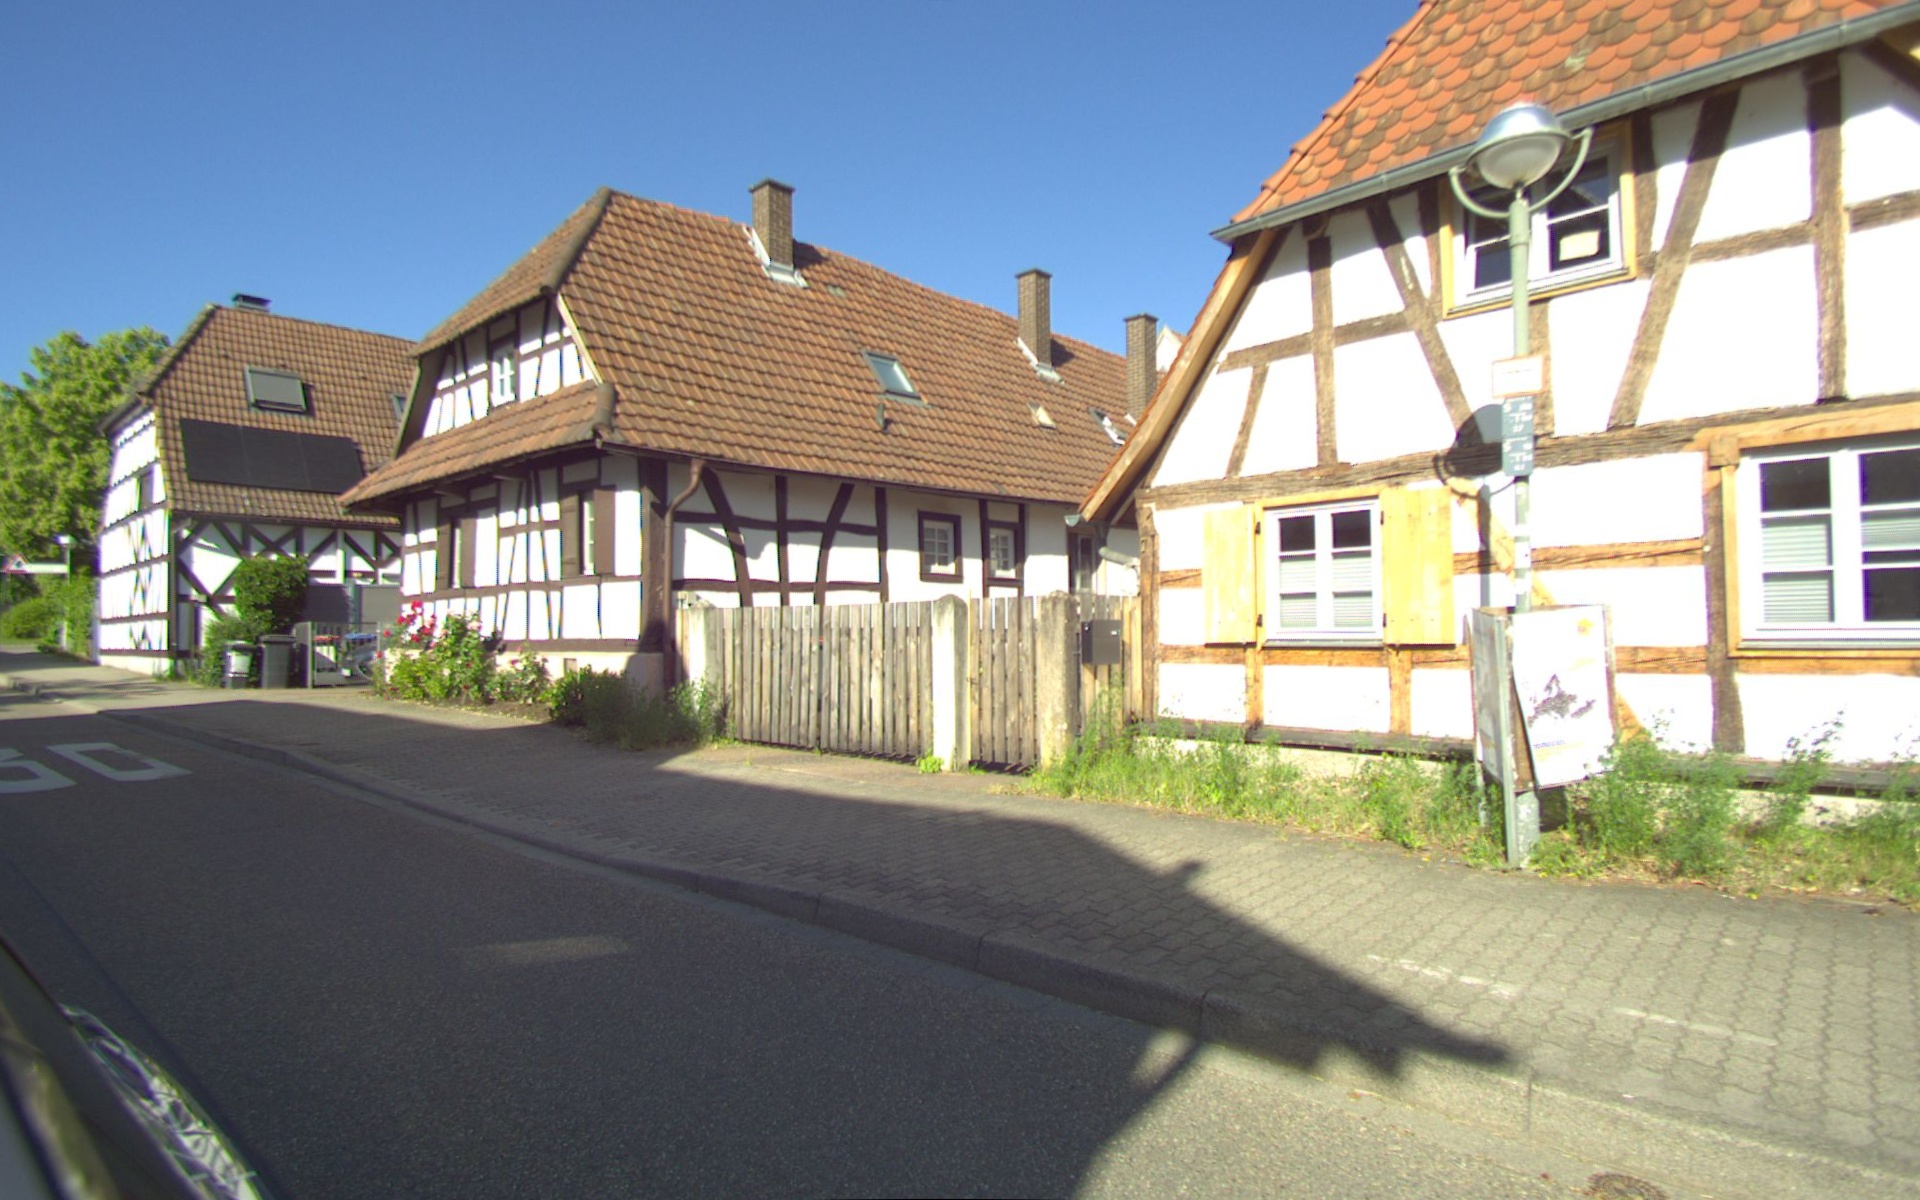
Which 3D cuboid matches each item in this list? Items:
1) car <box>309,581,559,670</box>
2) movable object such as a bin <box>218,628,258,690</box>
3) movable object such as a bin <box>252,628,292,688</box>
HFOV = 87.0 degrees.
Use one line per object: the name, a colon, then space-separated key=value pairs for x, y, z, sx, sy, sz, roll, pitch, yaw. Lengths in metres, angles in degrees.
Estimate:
car: x=-10.497 y=0.537 z=20.421 sx=1.818 sy=1.604 sz=4.060 roll=0 pitch=-2 yaw=41
movable object such as a bin: x=-13.981 y=1.131 z=19.587 sx=0.667 sy=1.149 sz=0.471 roll=-1 pitch=-2 yaw=41
movable object such as a bin: x=-13.613 y=1.142 z=20.020 sx=0.667 sy=1.149 sz=0.471 roll=-1 pitch=-2 yaw=41
